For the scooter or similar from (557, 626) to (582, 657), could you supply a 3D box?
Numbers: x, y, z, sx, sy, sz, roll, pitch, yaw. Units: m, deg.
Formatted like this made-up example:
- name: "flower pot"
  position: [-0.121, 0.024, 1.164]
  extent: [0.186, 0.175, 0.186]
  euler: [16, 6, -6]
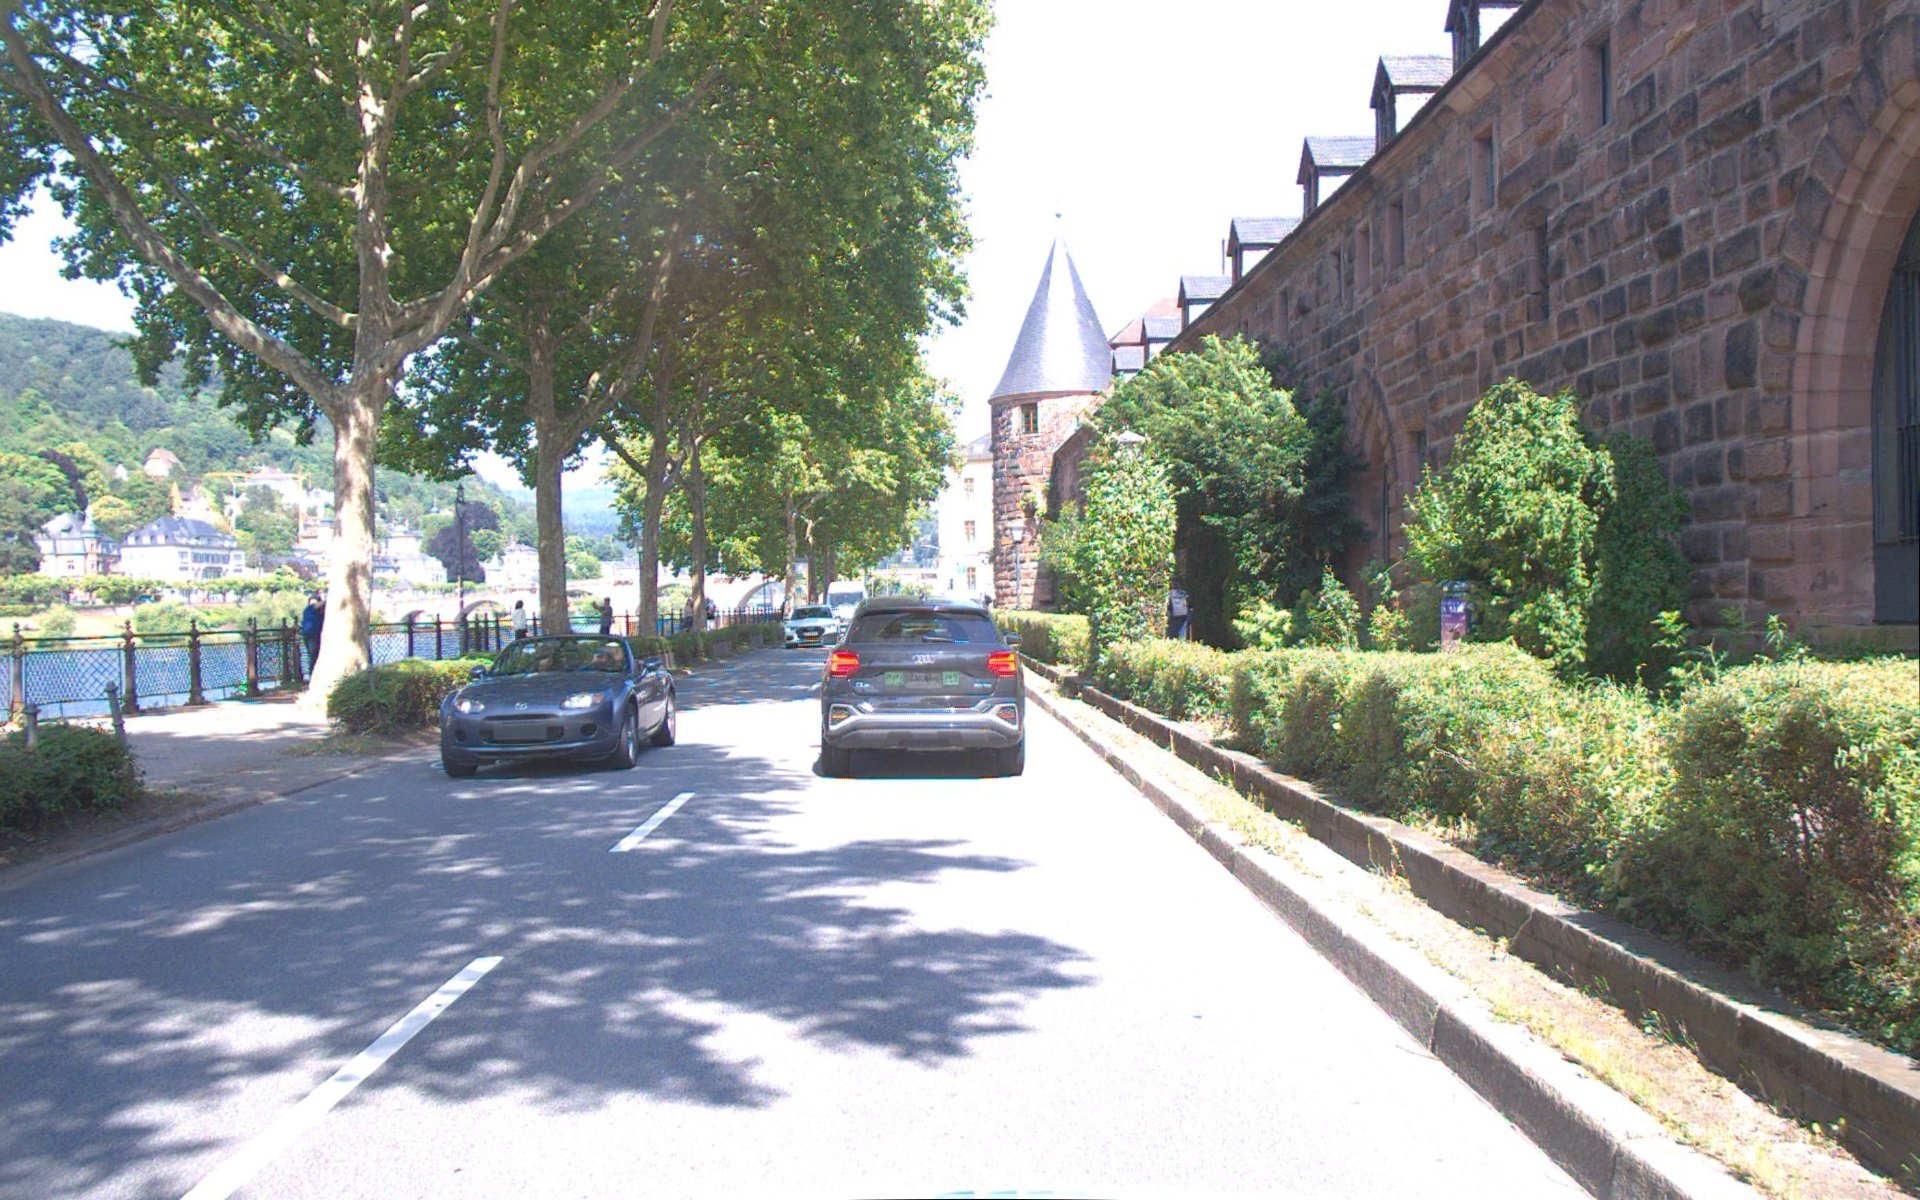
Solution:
- name: "scooter or similar"
  position: [-12.812, 1.369, 54.285]
  extent: [0.618, 0.985, 1.012]
  euler: [-1, -1, -2]

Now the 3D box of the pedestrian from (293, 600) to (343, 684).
- name: "pedestrian"
  position: [-12.625, 0.817, 32.561]
  extent: [0.689, 1.631, 0.705]
  euler: [-1, -1, 0]

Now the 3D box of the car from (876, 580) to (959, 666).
- name: "car"
  position: [-1.106, 0.572, 42.904]
  extent: [1.953, 2.049, 3.999]
  euler: [-2, 0, -2]

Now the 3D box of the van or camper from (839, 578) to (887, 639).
- name: "van or camper"
  position: [-4.509, 0.398, 77.584]
  extent: [1.921, 2.612, 5.838]
  euler: [-3, 0, -2]

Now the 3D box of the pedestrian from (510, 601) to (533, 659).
- name: "pedestrian"
  position: [-13.392, 0.913, 50.495]
  extent: [0.573, 1.740, 0.403]
  euler: [1, -1, -4]

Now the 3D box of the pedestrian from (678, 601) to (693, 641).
- name: "pedestrian"
  position: [-10.859, 0.835, 65.444]
  extent: [0.448, 1.581, 0.585]
  euler: [-2, 0, -2]

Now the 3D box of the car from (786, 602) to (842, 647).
- name: "car"
  position: [-5.132, 0.850, 58.671]
  extent: [1.734, 1.482, 4.532]
  euler: [-2, 0, -3]

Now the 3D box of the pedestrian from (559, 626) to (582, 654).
- name: "pedestrian"
  position: [-12.816, 1.307, 54.427]
  extent: [0.595, 0.899, 0.705]
  euler: [-1, 0, -2]

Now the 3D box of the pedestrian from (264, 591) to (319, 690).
- name: "pedestrian"
  position: [-12.695, 0.763, 31.423]
  extent: [0.689, 1.828, 0.705]
  euler: [-2, 0, 0]

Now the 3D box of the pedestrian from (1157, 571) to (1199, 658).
- name: "pedestrian"
  position: [4.337, 0.291, 32.922]
  extent: [0.684, 1.681, 0.705]
  euler: [-2, 0, 1]

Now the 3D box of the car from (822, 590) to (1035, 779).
- name: "car"
  position: [-0.334, 0.688, 15.224]
  extent: [1.713, 1.521, 3.627]
  euler: [1, 0, -3]

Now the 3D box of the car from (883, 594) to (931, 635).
- name: "car"
  position: [-2.081, 0.544, 64.188]
  extent: [1.734, 1.482, 4.532]
  euler: [-2, 0, -3]

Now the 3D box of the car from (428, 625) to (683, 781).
- name: "car"
  position: [-3.759, 0.905, 15.934]
  extent: [1.664, 1.232, 3.484]
  euler: [-2, 0, -2]

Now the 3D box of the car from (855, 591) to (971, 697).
- name: "car"
  position: [-0.729, 0.691, 27.736]
  extent: [1.764, 1.590, 3.715]
  euler: [-2, 0, 0]

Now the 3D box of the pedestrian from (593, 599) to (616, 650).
- name: "pedestrian"
  position: [-11.587, 0.785, 53.942]
  extent: [0.631, 1.647, 0.458]
  euler: [1, -1, -4]
